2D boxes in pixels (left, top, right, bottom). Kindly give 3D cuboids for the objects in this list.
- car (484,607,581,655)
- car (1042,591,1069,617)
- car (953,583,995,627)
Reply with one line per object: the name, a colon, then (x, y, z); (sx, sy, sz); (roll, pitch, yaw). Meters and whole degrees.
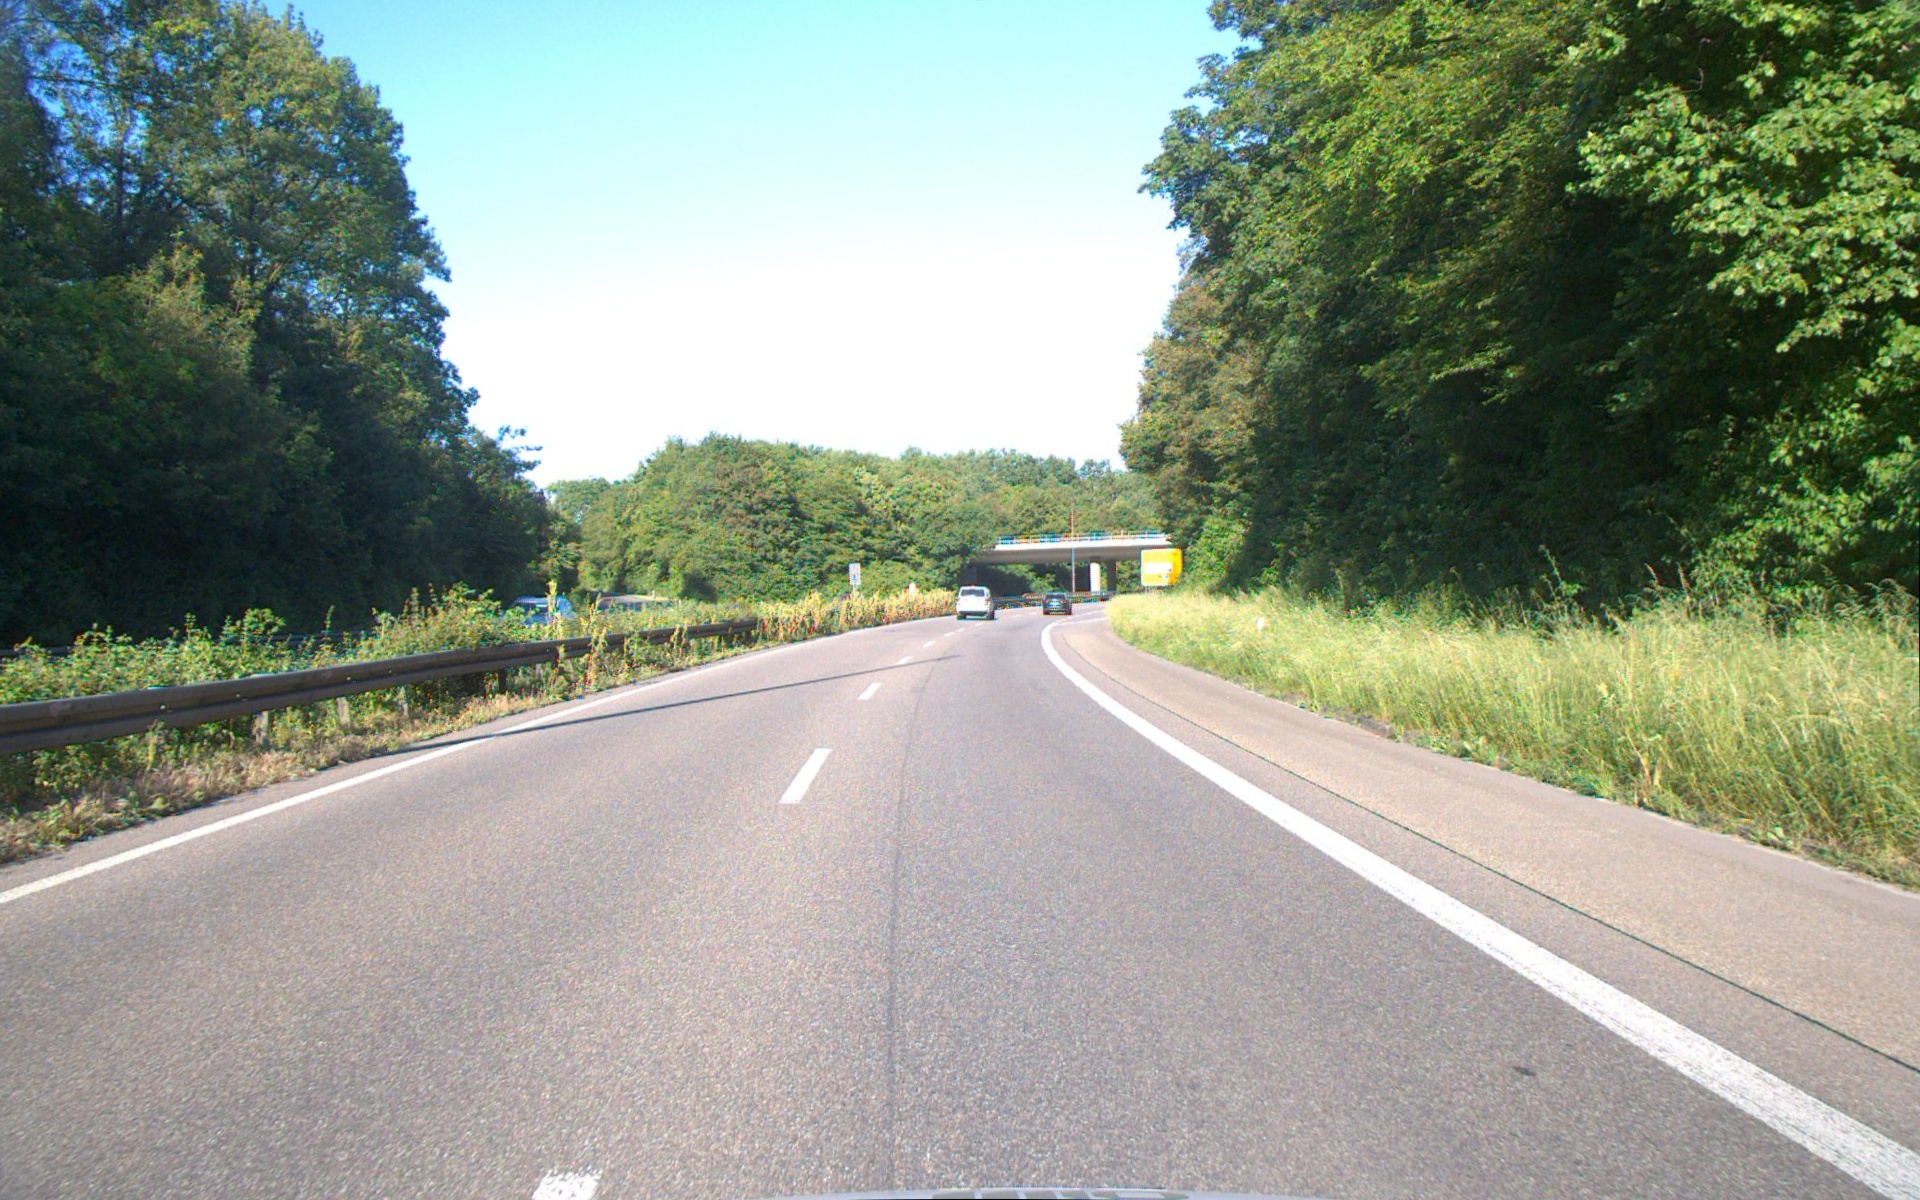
car: (-14.205, 1.000, 55.254); (1.953, 1.512, 5.238); (0, 0, -1)
car: (6.432, 0.250, 111.653); (1.702, 1.691, 3.948); (-1, 0, 5)
car: (0.804, 0.238, 90.458); (1.951, 2.317, 4.002); (-1, 0, 5)
